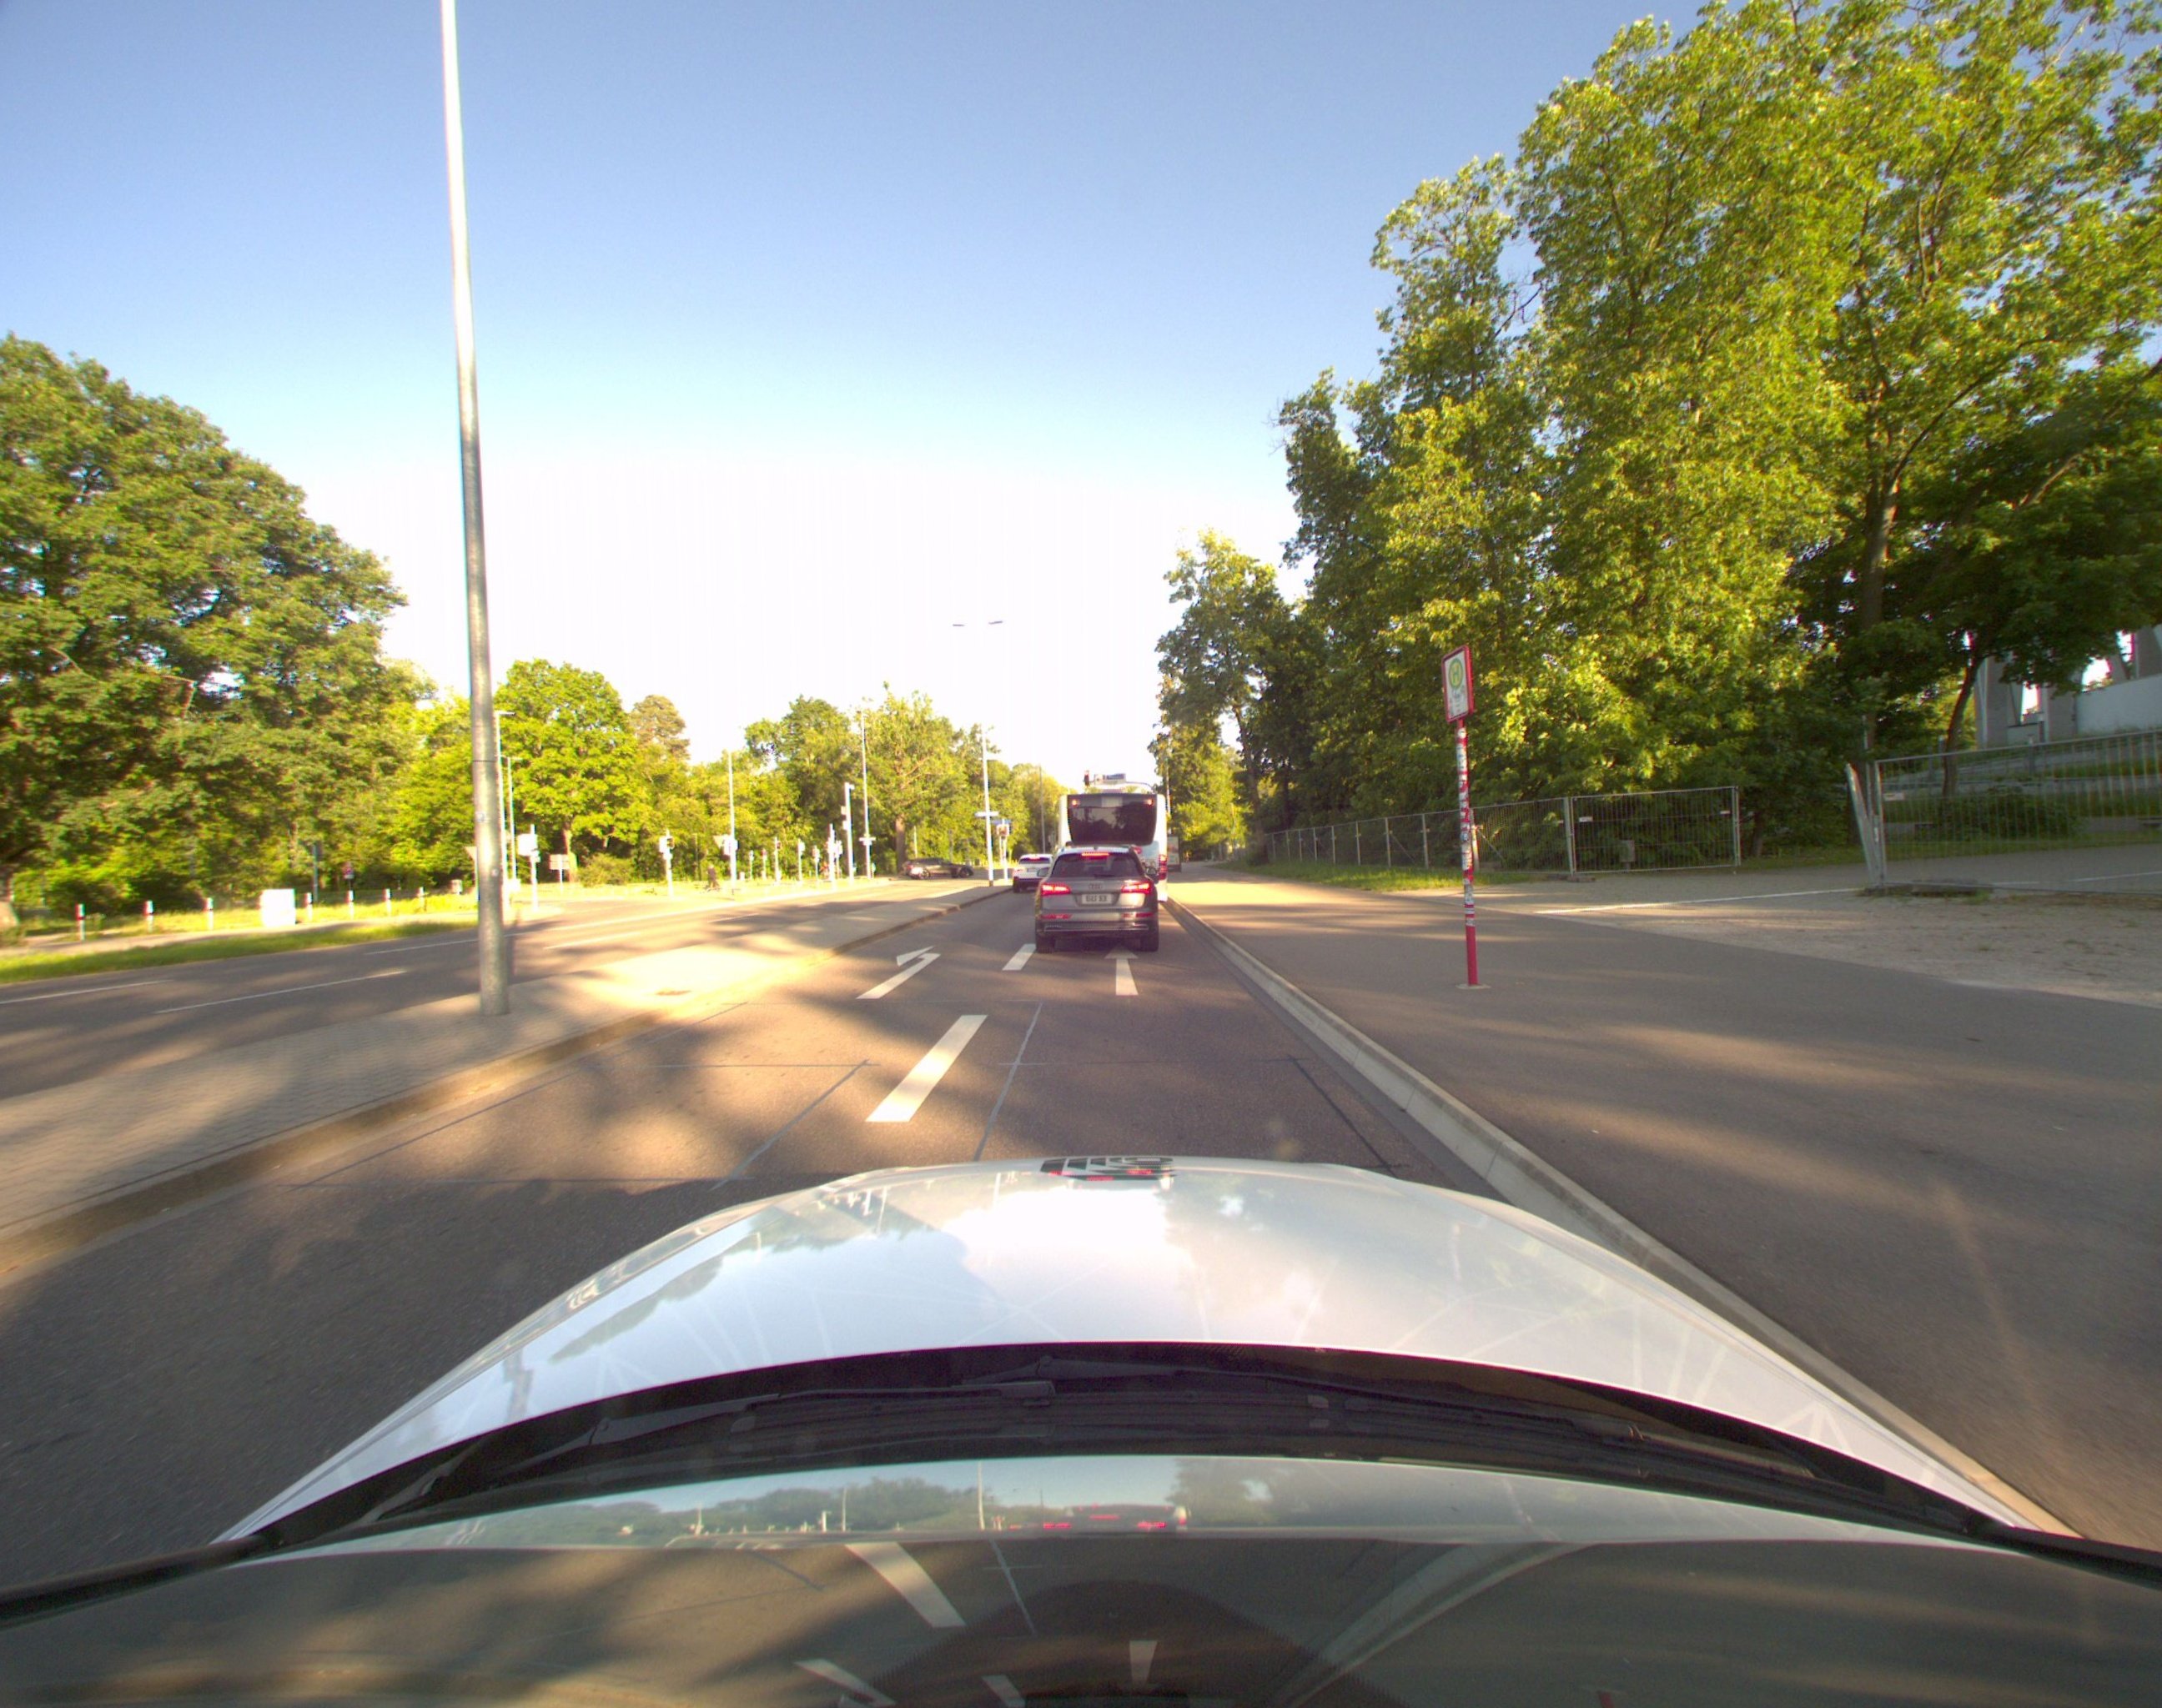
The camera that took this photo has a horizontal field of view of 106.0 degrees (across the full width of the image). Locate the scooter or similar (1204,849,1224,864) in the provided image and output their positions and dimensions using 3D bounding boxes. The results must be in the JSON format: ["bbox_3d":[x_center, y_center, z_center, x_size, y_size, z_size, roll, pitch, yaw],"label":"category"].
[{"bbox_3d":[13.736,0.239,84.187,2.024,1.444,0.601,-3,0,-23],"label":"scooter or similar"}]

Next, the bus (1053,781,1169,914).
[{"bbox_3d":[0.844,-0.110,23.236,2.585,2.989,9.330,-1,0,2],"label":"bus"}]

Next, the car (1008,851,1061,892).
[{"bbox_3d":[-1.871,0.675,33.961,1.829,1.518,4.002,-2,0,2],"label":"car"}]

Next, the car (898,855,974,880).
[{"bbox_3d":[-10.175,0.945,57.233,4.802,1.498,1.981,-3,0,-29],"label":"car"}]

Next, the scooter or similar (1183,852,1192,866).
[{"bbox_3d":[11.362,0.481,86.827,0.507,1.444,2.020,-3,0,-3],"label":"scooter or similar"}]

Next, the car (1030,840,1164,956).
[{"bbox_3d":[0.291,0.621,13.603,1.891,1.632,4.002,-1,0,2],"label":"car"}]

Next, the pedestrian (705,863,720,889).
[{"bbox_3d":[-22.297,1.345,49.260,0.652,1.560,0.533,-3,0,-40],"label":"pedestrian"}]

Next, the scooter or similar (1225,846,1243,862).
[{"bbox_3d":[16.027,0.017,85.419,0.543,1.567,1.999,-3,0,-37],"label":"scooter or similar"}]
